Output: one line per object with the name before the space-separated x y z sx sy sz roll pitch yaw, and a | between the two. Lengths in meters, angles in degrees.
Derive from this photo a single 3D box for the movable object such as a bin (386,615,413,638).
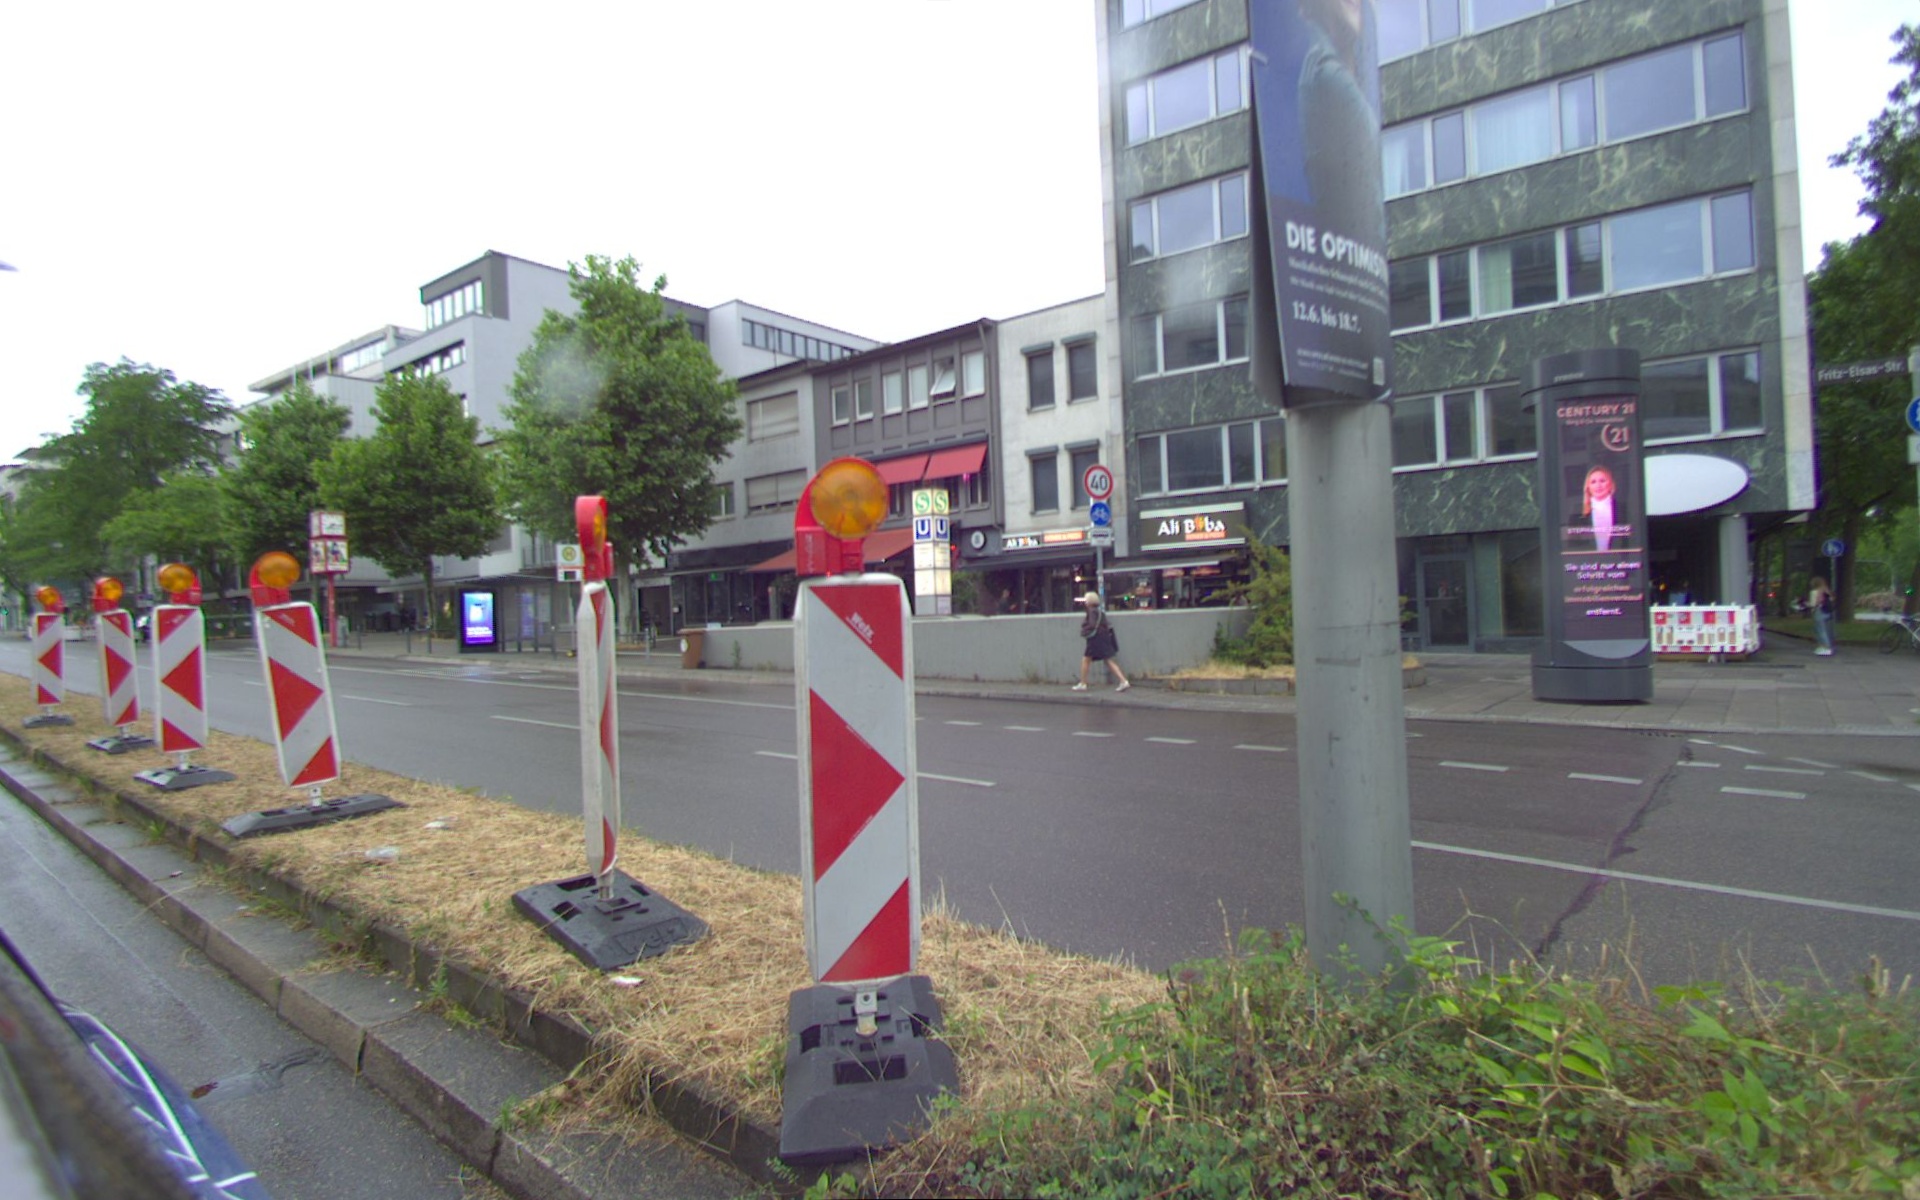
movable object such as a bin | -36.636 1.748 66.143 1.278 1.446 1.077 -1 -1 32

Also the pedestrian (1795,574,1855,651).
pedestrian | 18.649 0.290 21.824 0.922 1.597 0.822 -2 -5 41

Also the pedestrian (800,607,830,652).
pedestrian | -4.805 0.979 33.566 0.706 1.461 0.683 -2 -1 37

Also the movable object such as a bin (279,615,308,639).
movable object such as a bin | -41.590 1.674 63.188 1.088 1.499 1.265 -2 -1 41

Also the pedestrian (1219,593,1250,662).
pedestrian | 7.719 0.767 28.452 0.590 1.899 0.749 -2 -1 34

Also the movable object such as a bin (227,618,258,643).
movable object such as a bin | -43.318 1.831 61.091 1.088 1.437 1.265 -2 -1 41

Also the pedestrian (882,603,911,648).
pedestrian | -2.092 0.839 33.316 0.690 1.461 0.627 -2 -1 34

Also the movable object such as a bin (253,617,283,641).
movable object such as a bin | -42.481 1.749 62.134 1.088 1.437 1.265 -2 -1 41

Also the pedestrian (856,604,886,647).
pedestrian | -3.026 0.863 34.343 0.690 1.461 0.720 -2 -1 34

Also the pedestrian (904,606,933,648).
pedestrian | -1.347 0.877 32.865 0.690 1.354 0.627 -2 -1 34

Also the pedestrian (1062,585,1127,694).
pedestrian | 2.133 0.613 16.043 0.757 1.665 0.683 -2 -1 37

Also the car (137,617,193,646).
car | -48.046 1.920 61.144 4.019 1.648 1.761 -2 -1 38

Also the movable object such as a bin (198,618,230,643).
movable object such as a bin | -44.230 1.824 59.999 1.088 1.437 1.345 -2 -1 41

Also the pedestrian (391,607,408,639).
pedestrian | -32.115 1.316 57.966 0.653 1.776 0.688 -1 -1 43

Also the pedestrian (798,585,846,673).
pedestrian | -3.055 0.629 22.409 0.757 1.899 0.683 -2 -1 37

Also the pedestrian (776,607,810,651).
pedestrian | -5.636 0.972 34.183 0.912 1.461 0.683 -2 -1 37

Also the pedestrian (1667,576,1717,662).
pedestrian | 16.601 0.454 22.957 0.875 1.868 1.012 -2 -5 37

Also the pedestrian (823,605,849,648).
pedestrian | -4.334 0.928 35.408 0.546 1.461 0.683 -2 -1 37

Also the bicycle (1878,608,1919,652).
bicycle | 20.868 0.643 21.619 0.468 0.941 1.803 0 -1 -39

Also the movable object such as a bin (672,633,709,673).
movable object such as a bin | -6.267 1.228 23.533 0.680 0.904 0.527 -1 -2 32

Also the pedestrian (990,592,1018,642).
pedestrian | 1.316 0.494 30.137 0.587 1.461 0.597 -2 -1 36

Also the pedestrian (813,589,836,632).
pedestrian | -5.004 0.376 37.487 0.603 1.582 0.591 -1 -1 31

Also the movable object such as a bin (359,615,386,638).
movable object such as a bin | -39.226 1.769 67.592 1.278 1.446 1.077 -1 -1 32

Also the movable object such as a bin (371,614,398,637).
movable object such as a bin | -37.940 1.686 66.736 1.278 1.446 1.077 -1 -1 32
